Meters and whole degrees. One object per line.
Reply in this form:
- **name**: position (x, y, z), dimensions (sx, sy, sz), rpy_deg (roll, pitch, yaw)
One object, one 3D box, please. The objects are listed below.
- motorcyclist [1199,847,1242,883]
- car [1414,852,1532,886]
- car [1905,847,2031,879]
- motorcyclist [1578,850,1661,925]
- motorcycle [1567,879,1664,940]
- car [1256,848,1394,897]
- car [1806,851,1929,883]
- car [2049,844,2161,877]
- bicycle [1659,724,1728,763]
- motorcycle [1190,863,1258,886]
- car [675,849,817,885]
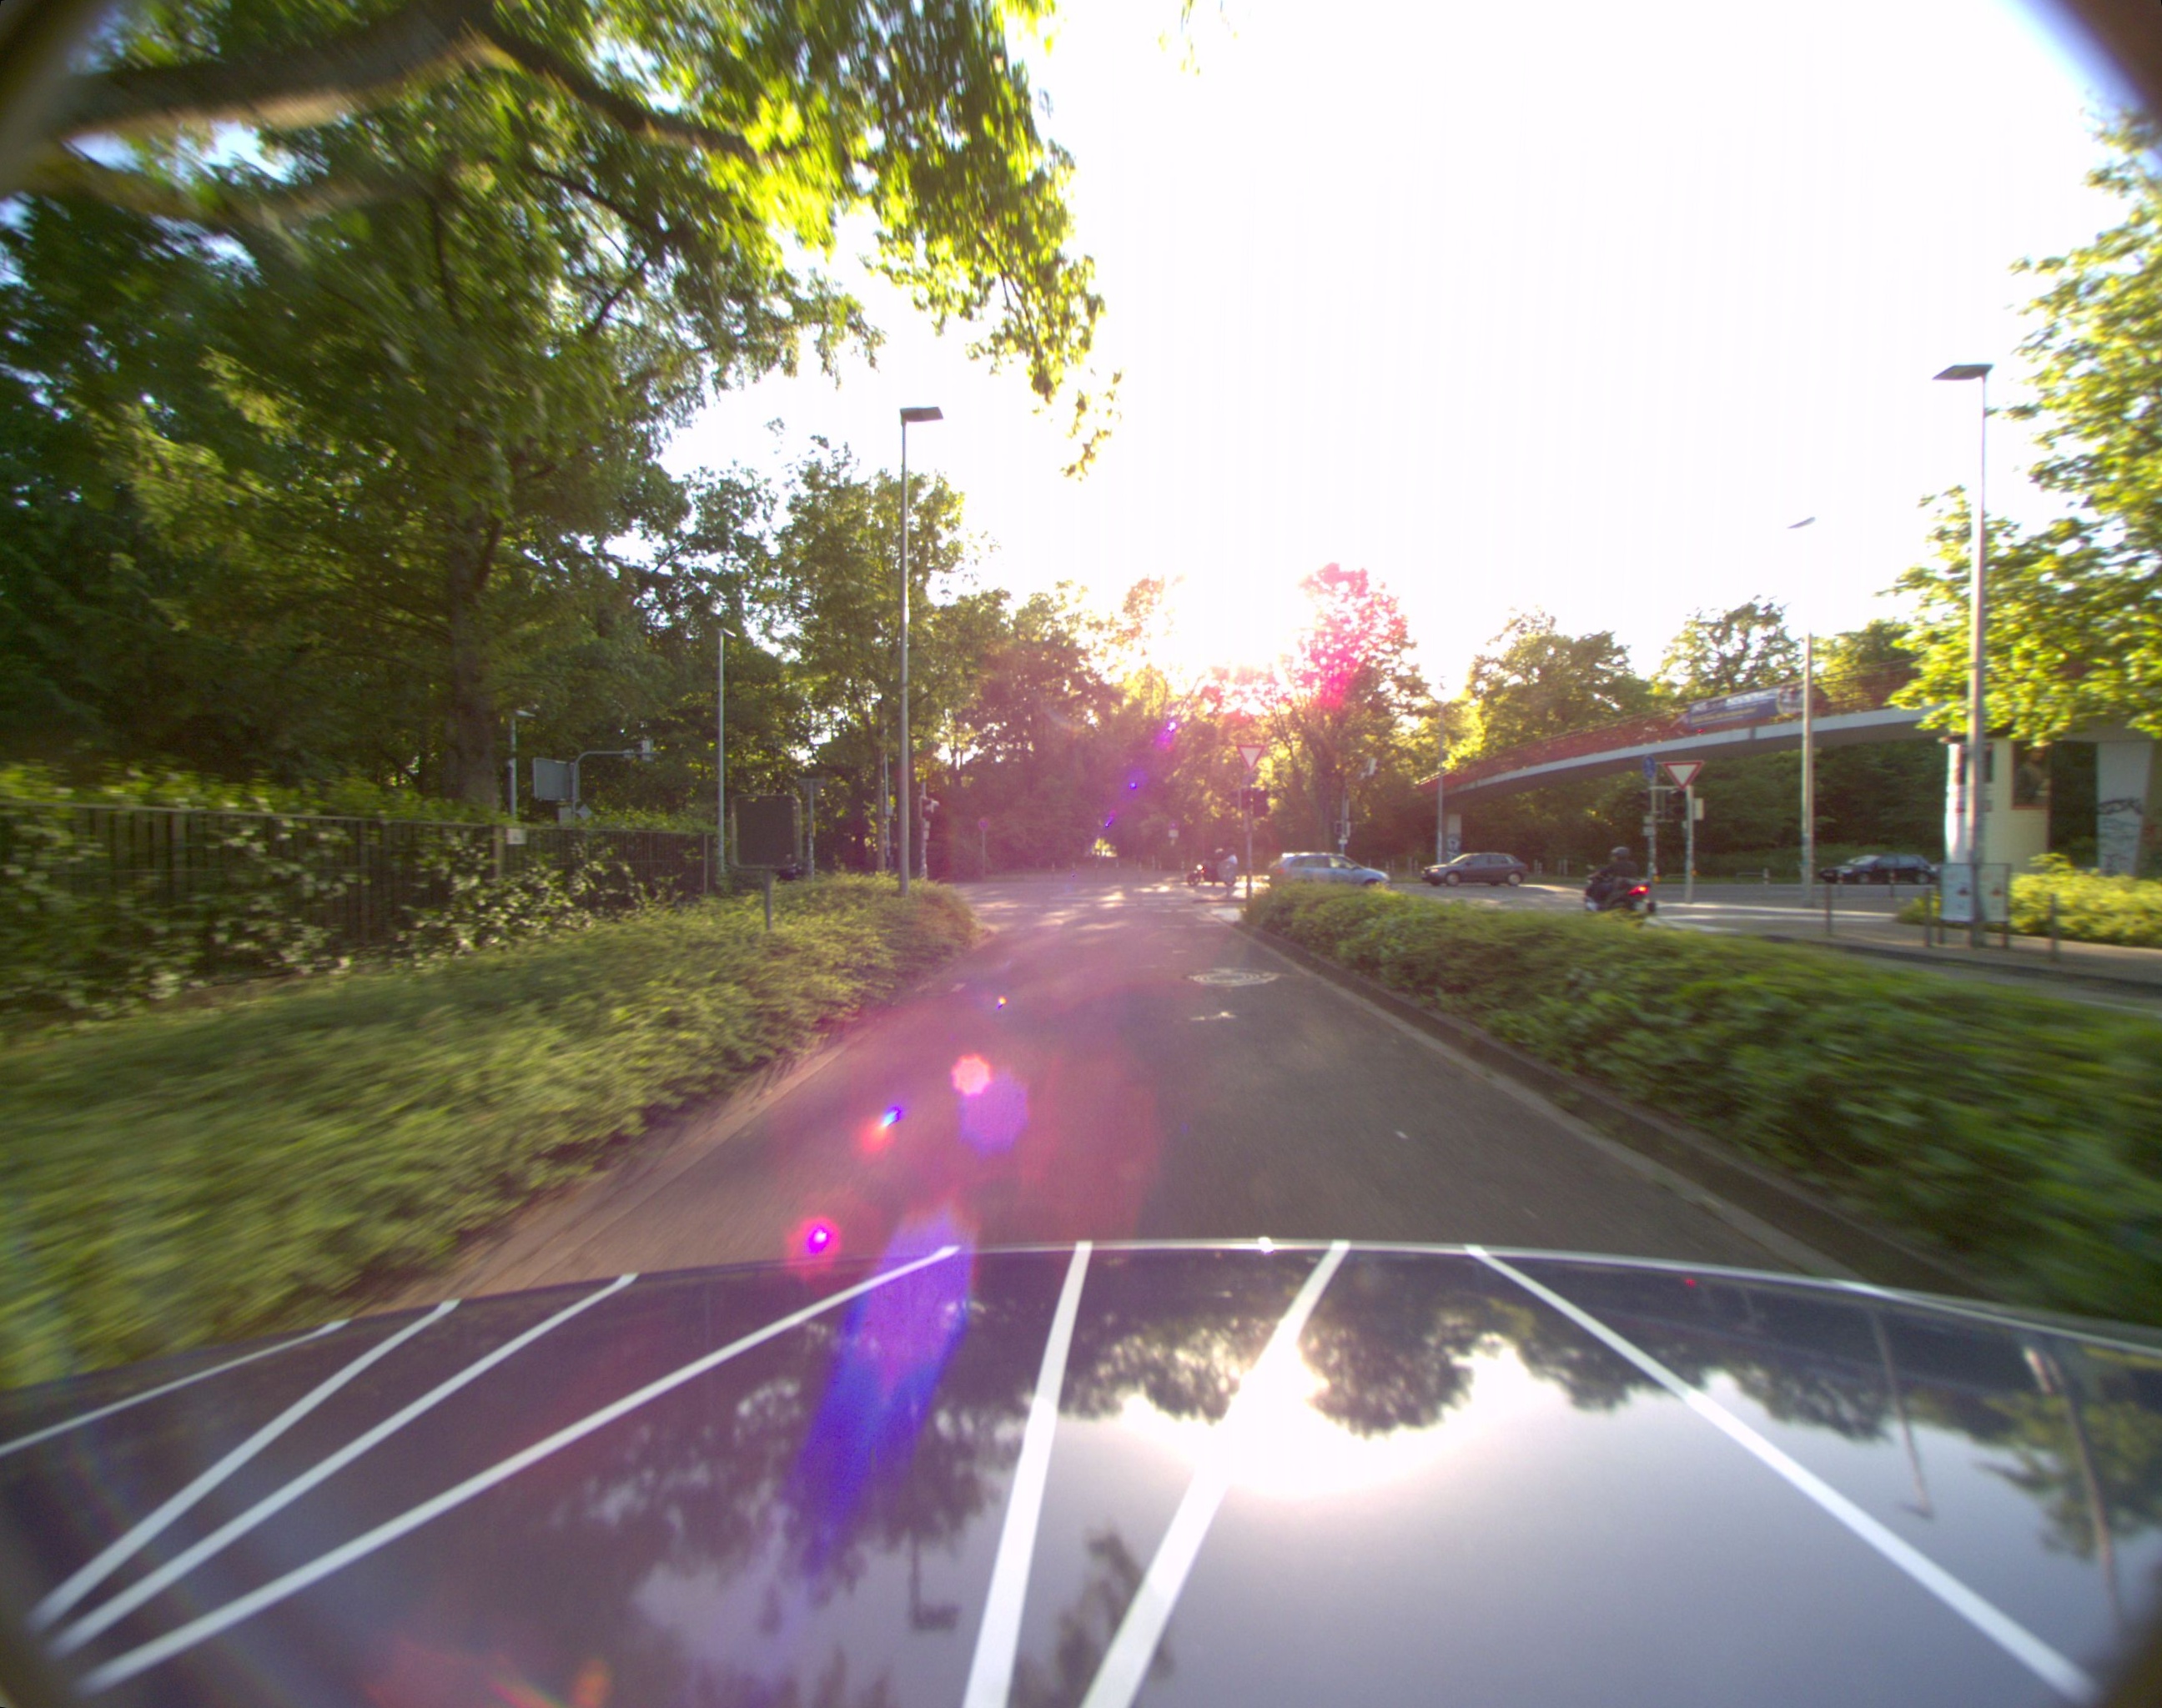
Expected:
- **motorcyclist**: position (5.804, 0.463, 31.748), dimensions (1.565, 1.419, 1.139), rpy_deg (-2, 1, 1)
- **car**: position (16.348, 0.625, 31.859), dimensions (3.995, 1.381, 1.870), rpy_deg (0, 0, 7)
- **car**: position (43.025, 0.432, 36.925), dimensions (3.972, 1.499, 1.721), rpy_deg (0, 2, 2)
- **motorcyclist**: position (10.863, 0.653, 15.362), dimensions (0.950, 1.462, 1.070), rpy_deg (0, 1, 5)
- **motorcycle**: position (10.826, 1.086, 15.494), dimensions (0.524, 1.062, 2.288), rpy_deg (0, 1, 5)
- **car**: position (8.520, 0.631, 26.817), dimensions (4.315, 1.571, 1.812), rpy_deg (0, 3, 2)
- **car**: position (38.151, 0.629, 36.938), dimensions (4.122, 1.499, 1.695), rpy_deg (0, 1, 2)
- **car**: position (49.959, 0.306, 36.634), dimensions (4.149, 1.499, 1.738), rpy_deg (0, 2, 2)
- **bicycle**: position (25.644, -4.602, 31.895), dimensions (1.051, 1.365, 2.448), rpy_deg (-1, 3, 5)
- **motorcycle**: position (5.958, 0.860, 31.813), dimensions (2.711, 0.908, 0.808), rpy_deg (0, 1, 0)
- **car**: position (-15.981, 0.585, 36.407), dimensions (5.882, 1.625, 2.000), rpy_deg (-1, 1, 1)
